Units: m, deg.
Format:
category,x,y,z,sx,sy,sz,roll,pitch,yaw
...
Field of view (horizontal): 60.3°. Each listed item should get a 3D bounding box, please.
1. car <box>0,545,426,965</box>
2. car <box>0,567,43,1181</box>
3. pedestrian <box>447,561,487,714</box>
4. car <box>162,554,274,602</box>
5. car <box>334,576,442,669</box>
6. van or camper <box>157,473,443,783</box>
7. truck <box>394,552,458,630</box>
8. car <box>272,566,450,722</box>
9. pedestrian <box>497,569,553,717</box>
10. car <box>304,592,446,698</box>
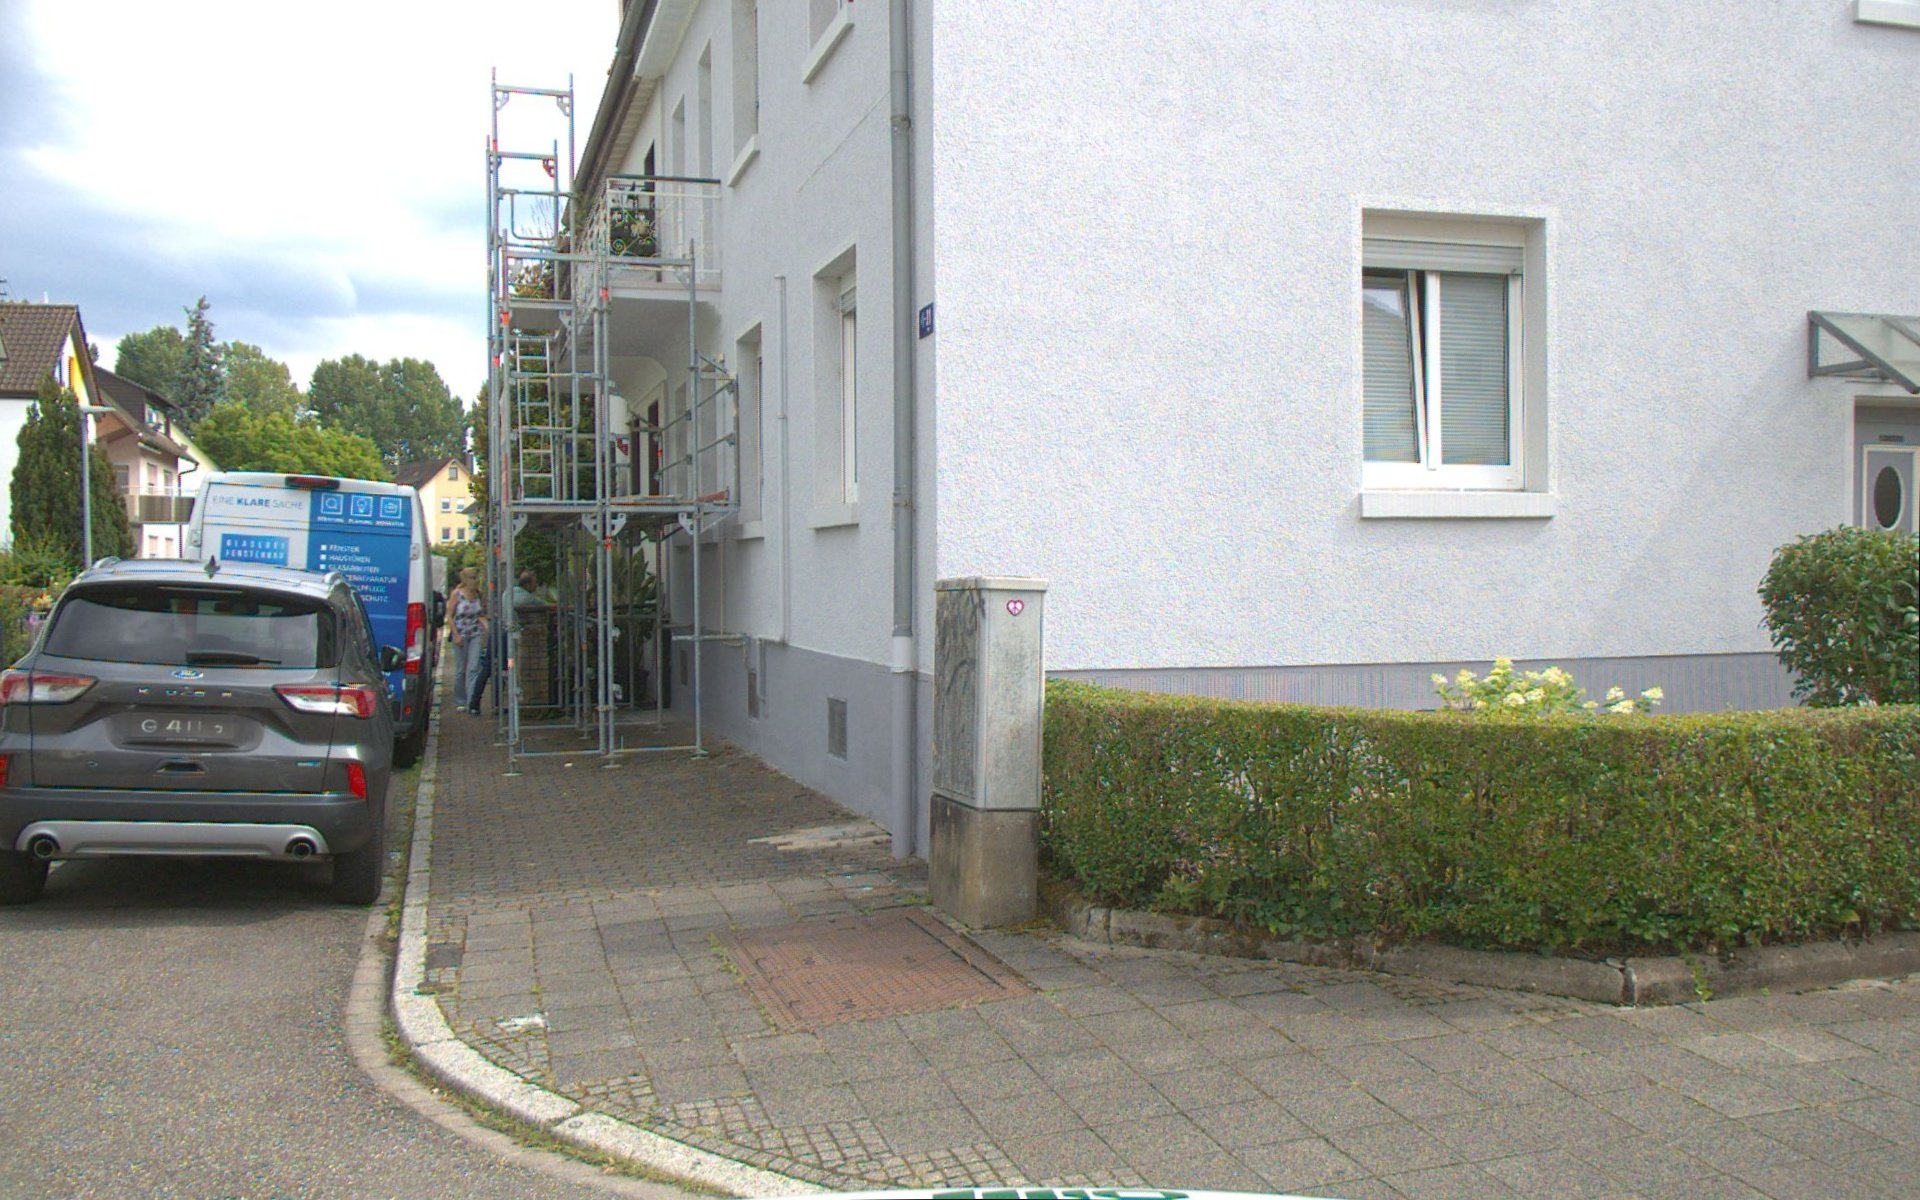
category,x,y,z,sx,sy,sz,roll,pitch,yaw
car,-4.098,0.621,9.261,1.964,1.757,4.317,-1,1,-20
car,-2.928,0.684,2.308,1.784,1.546,4.030,0,0,-12
pedestrian,-5.894,0.441,19.762,0.401,1.793,0.510,-1,-1,-21
car,-29.574,-0.877,66.068,3.930,1.803,1.858,-1,0,-21
car,-11.852,0.402,34.261,1.964,1.780,4.317,-1,1,-20
van or camper,-6.196,0.174,16.107,2.158,2.502,5.029,-1,1,-18
truck,-19.529,-0.344,60.418,2.098,2.703,4.559,-1,1,-19
car,-7.840,0.487,21.755,1.964,1.803,4.317,-1,1,-20
pedestrian,-5.024,0.488,19.087,0.591,1.658,0.622,-1,-1,-17
car,-9.372,0.646,26.553,1.964,1.481,4.317,-1,1,-20
